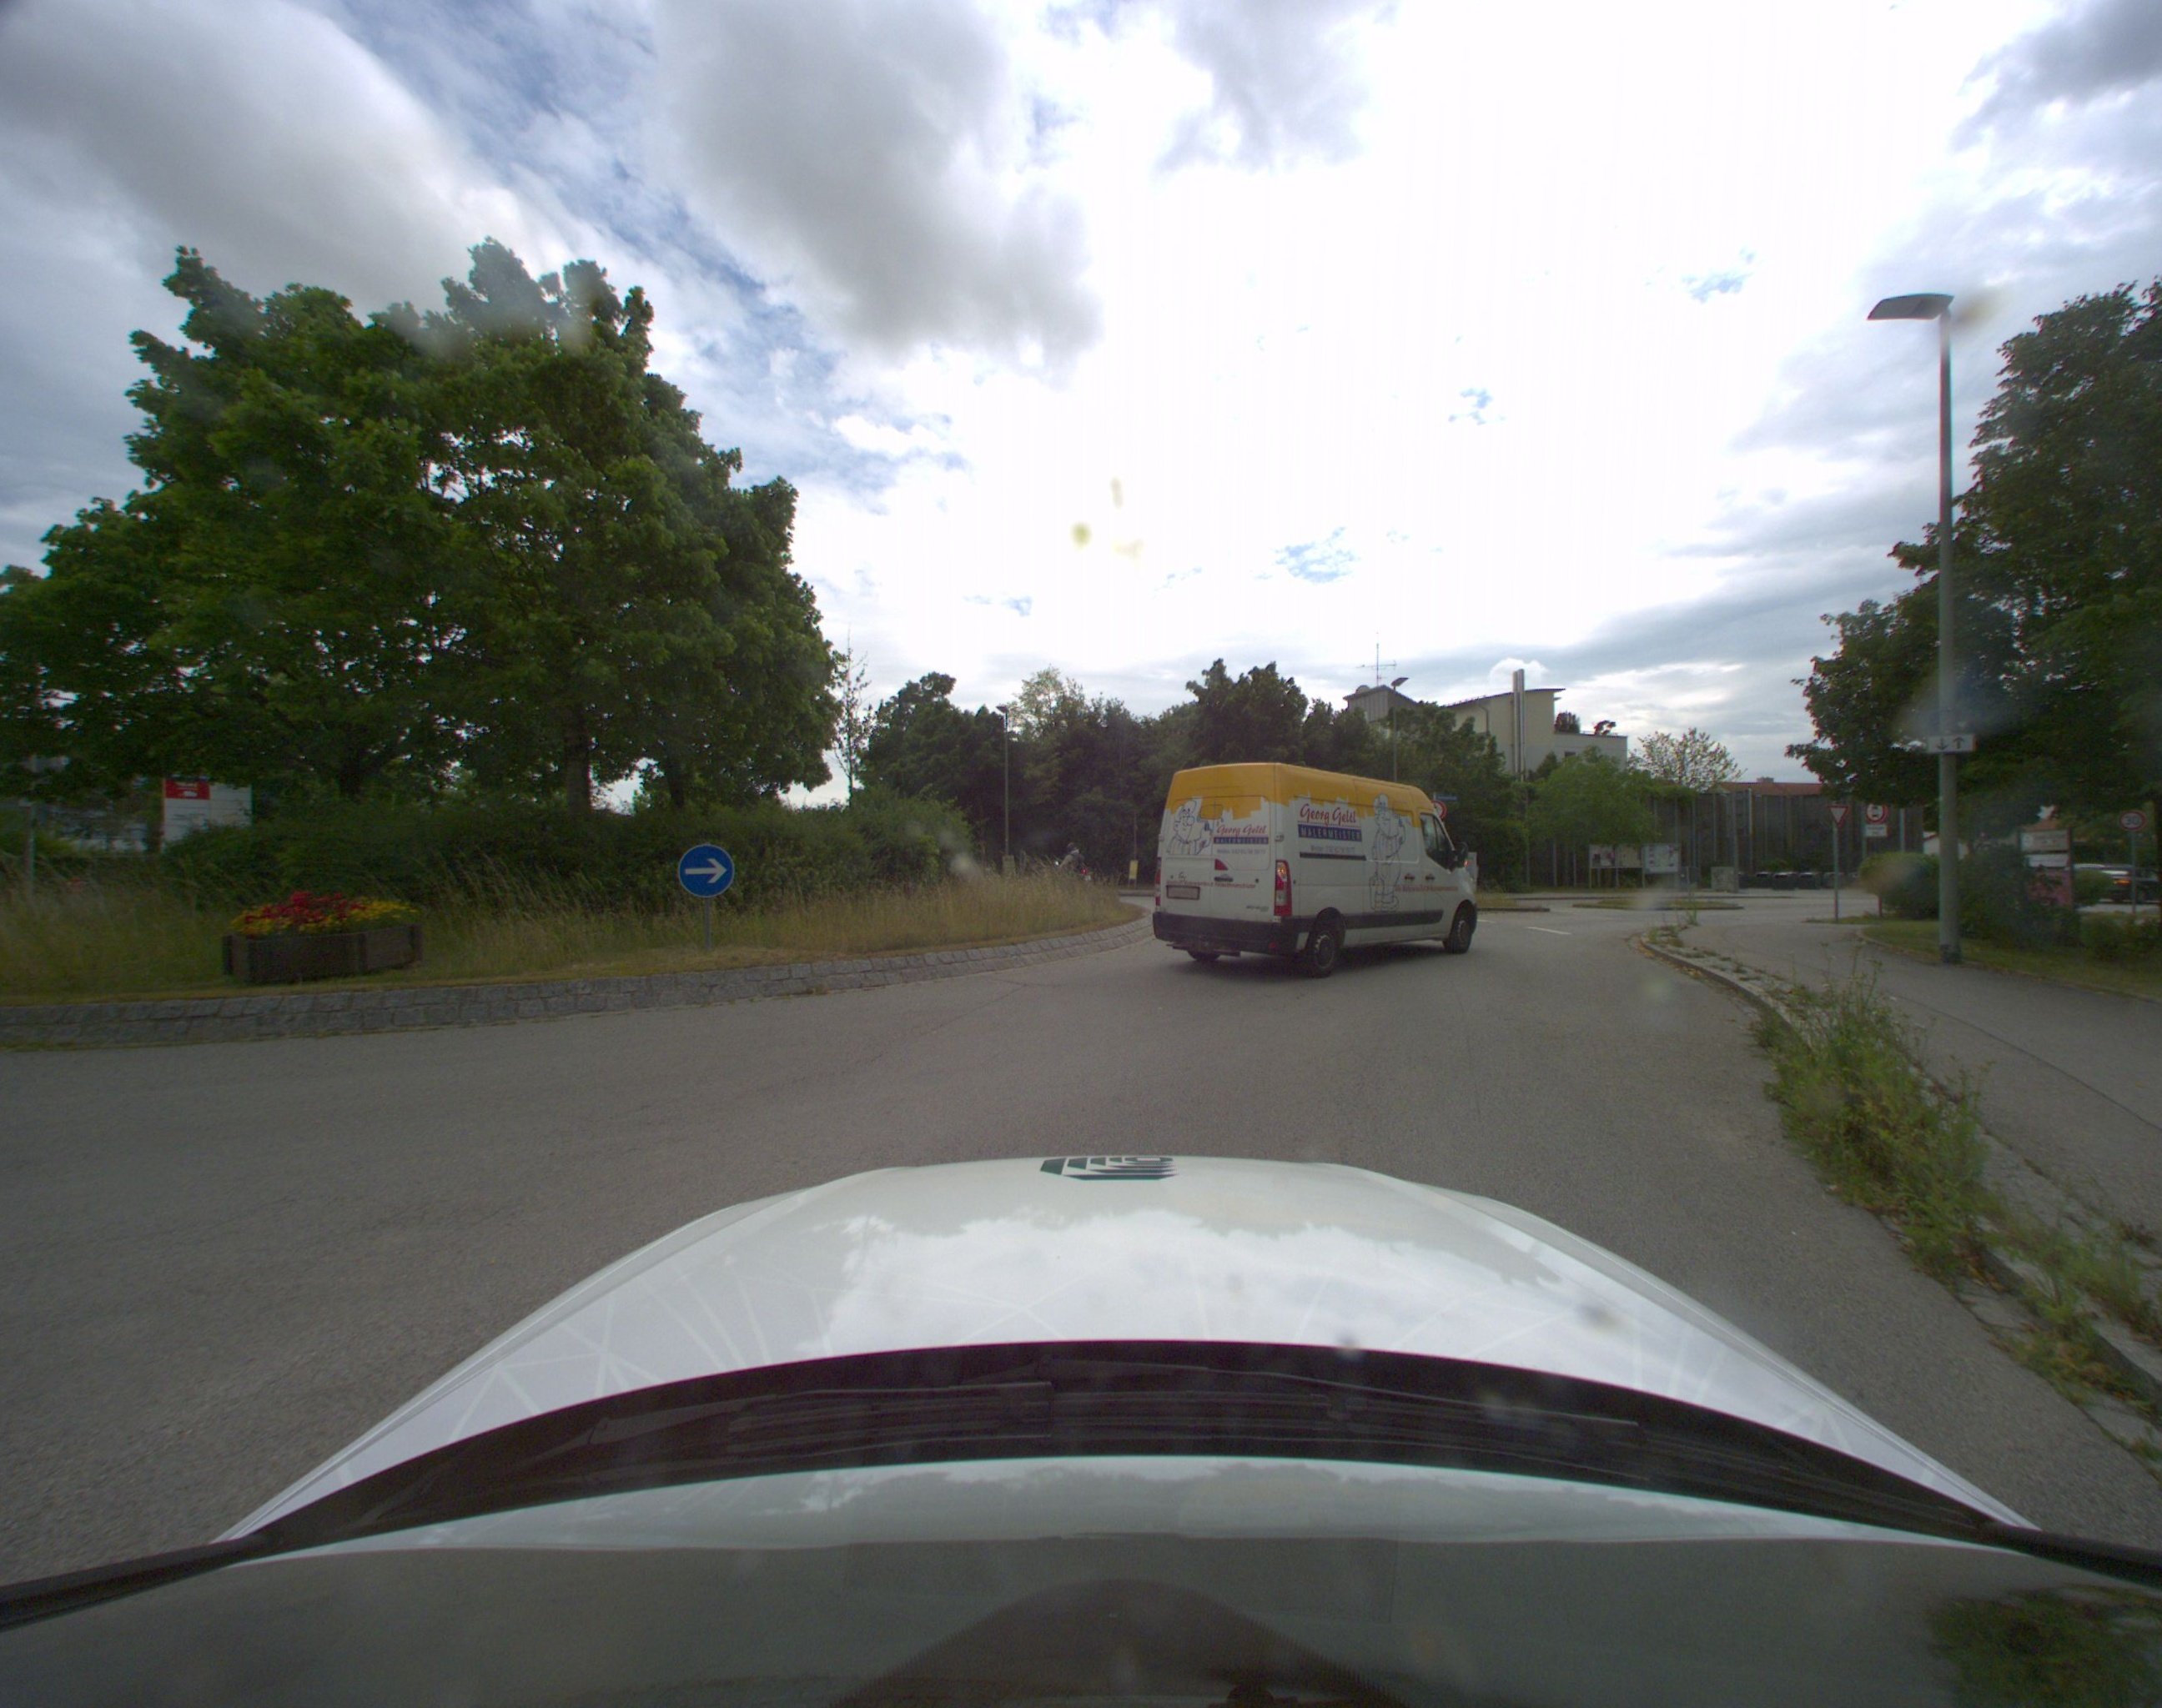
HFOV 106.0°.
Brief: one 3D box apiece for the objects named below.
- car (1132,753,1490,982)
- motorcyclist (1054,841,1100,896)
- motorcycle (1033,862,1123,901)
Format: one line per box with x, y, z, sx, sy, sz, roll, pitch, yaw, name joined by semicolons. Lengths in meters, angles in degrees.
3.420;0.157;11.340;5.470;2.452;2.144;1;0;-41;car
-0.118;0.436;24.977;1.176;1.623;0.869;0;-1;22;motorcyclist
-0.101;0.815;24.959;2.589;1.158;0.904;0;0;22;motorcycle
